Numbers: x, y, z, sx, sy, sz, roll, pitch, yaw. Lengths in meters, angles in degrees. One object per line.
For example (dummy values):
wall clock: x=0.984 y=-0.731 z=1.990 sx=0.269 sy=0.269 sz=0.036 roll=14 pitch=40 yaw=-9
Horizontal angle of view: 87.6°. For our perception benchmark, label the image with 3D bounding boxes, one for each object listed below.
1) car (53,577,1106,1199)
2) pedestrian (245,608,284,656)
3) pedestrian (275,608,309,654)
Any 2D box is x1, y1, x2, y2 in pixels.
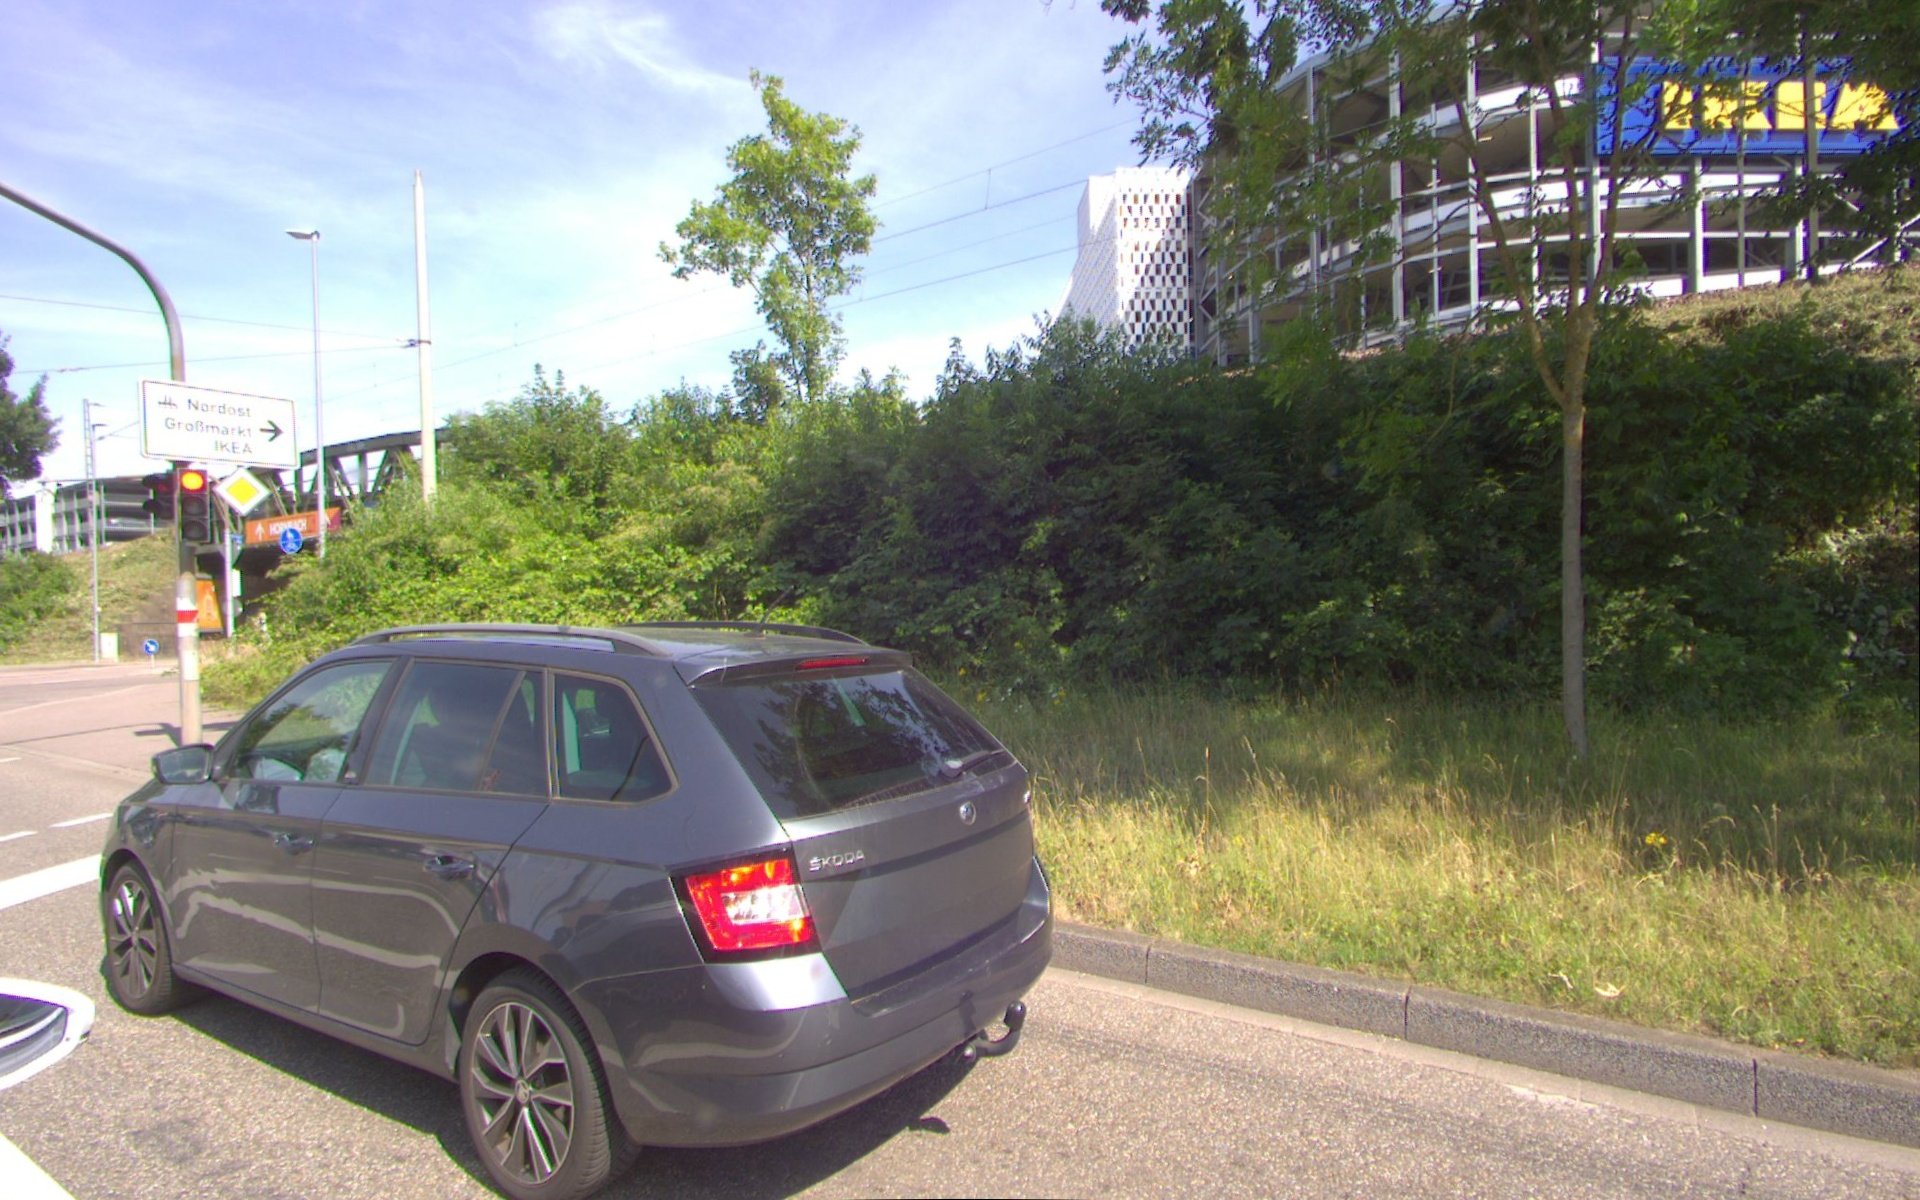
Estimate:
car: x=-1.616 y=0.744 z=3.781 sx=3.978 sy=1.472 sz=1.671 roll=-1 pitch=-2 yaw=32
pedestrian: x=-24.118 y=1.089 z=34.751 sx=0.766 sy=1.633 sz=0.866 roll=-1 pitch=0 yaw=32
pedestrian: x=-23.670 y=1.101 z=35.500 sx=0.766 sy=1.600 sz=0.728 roll=-1 pitch=0 yaw=32
